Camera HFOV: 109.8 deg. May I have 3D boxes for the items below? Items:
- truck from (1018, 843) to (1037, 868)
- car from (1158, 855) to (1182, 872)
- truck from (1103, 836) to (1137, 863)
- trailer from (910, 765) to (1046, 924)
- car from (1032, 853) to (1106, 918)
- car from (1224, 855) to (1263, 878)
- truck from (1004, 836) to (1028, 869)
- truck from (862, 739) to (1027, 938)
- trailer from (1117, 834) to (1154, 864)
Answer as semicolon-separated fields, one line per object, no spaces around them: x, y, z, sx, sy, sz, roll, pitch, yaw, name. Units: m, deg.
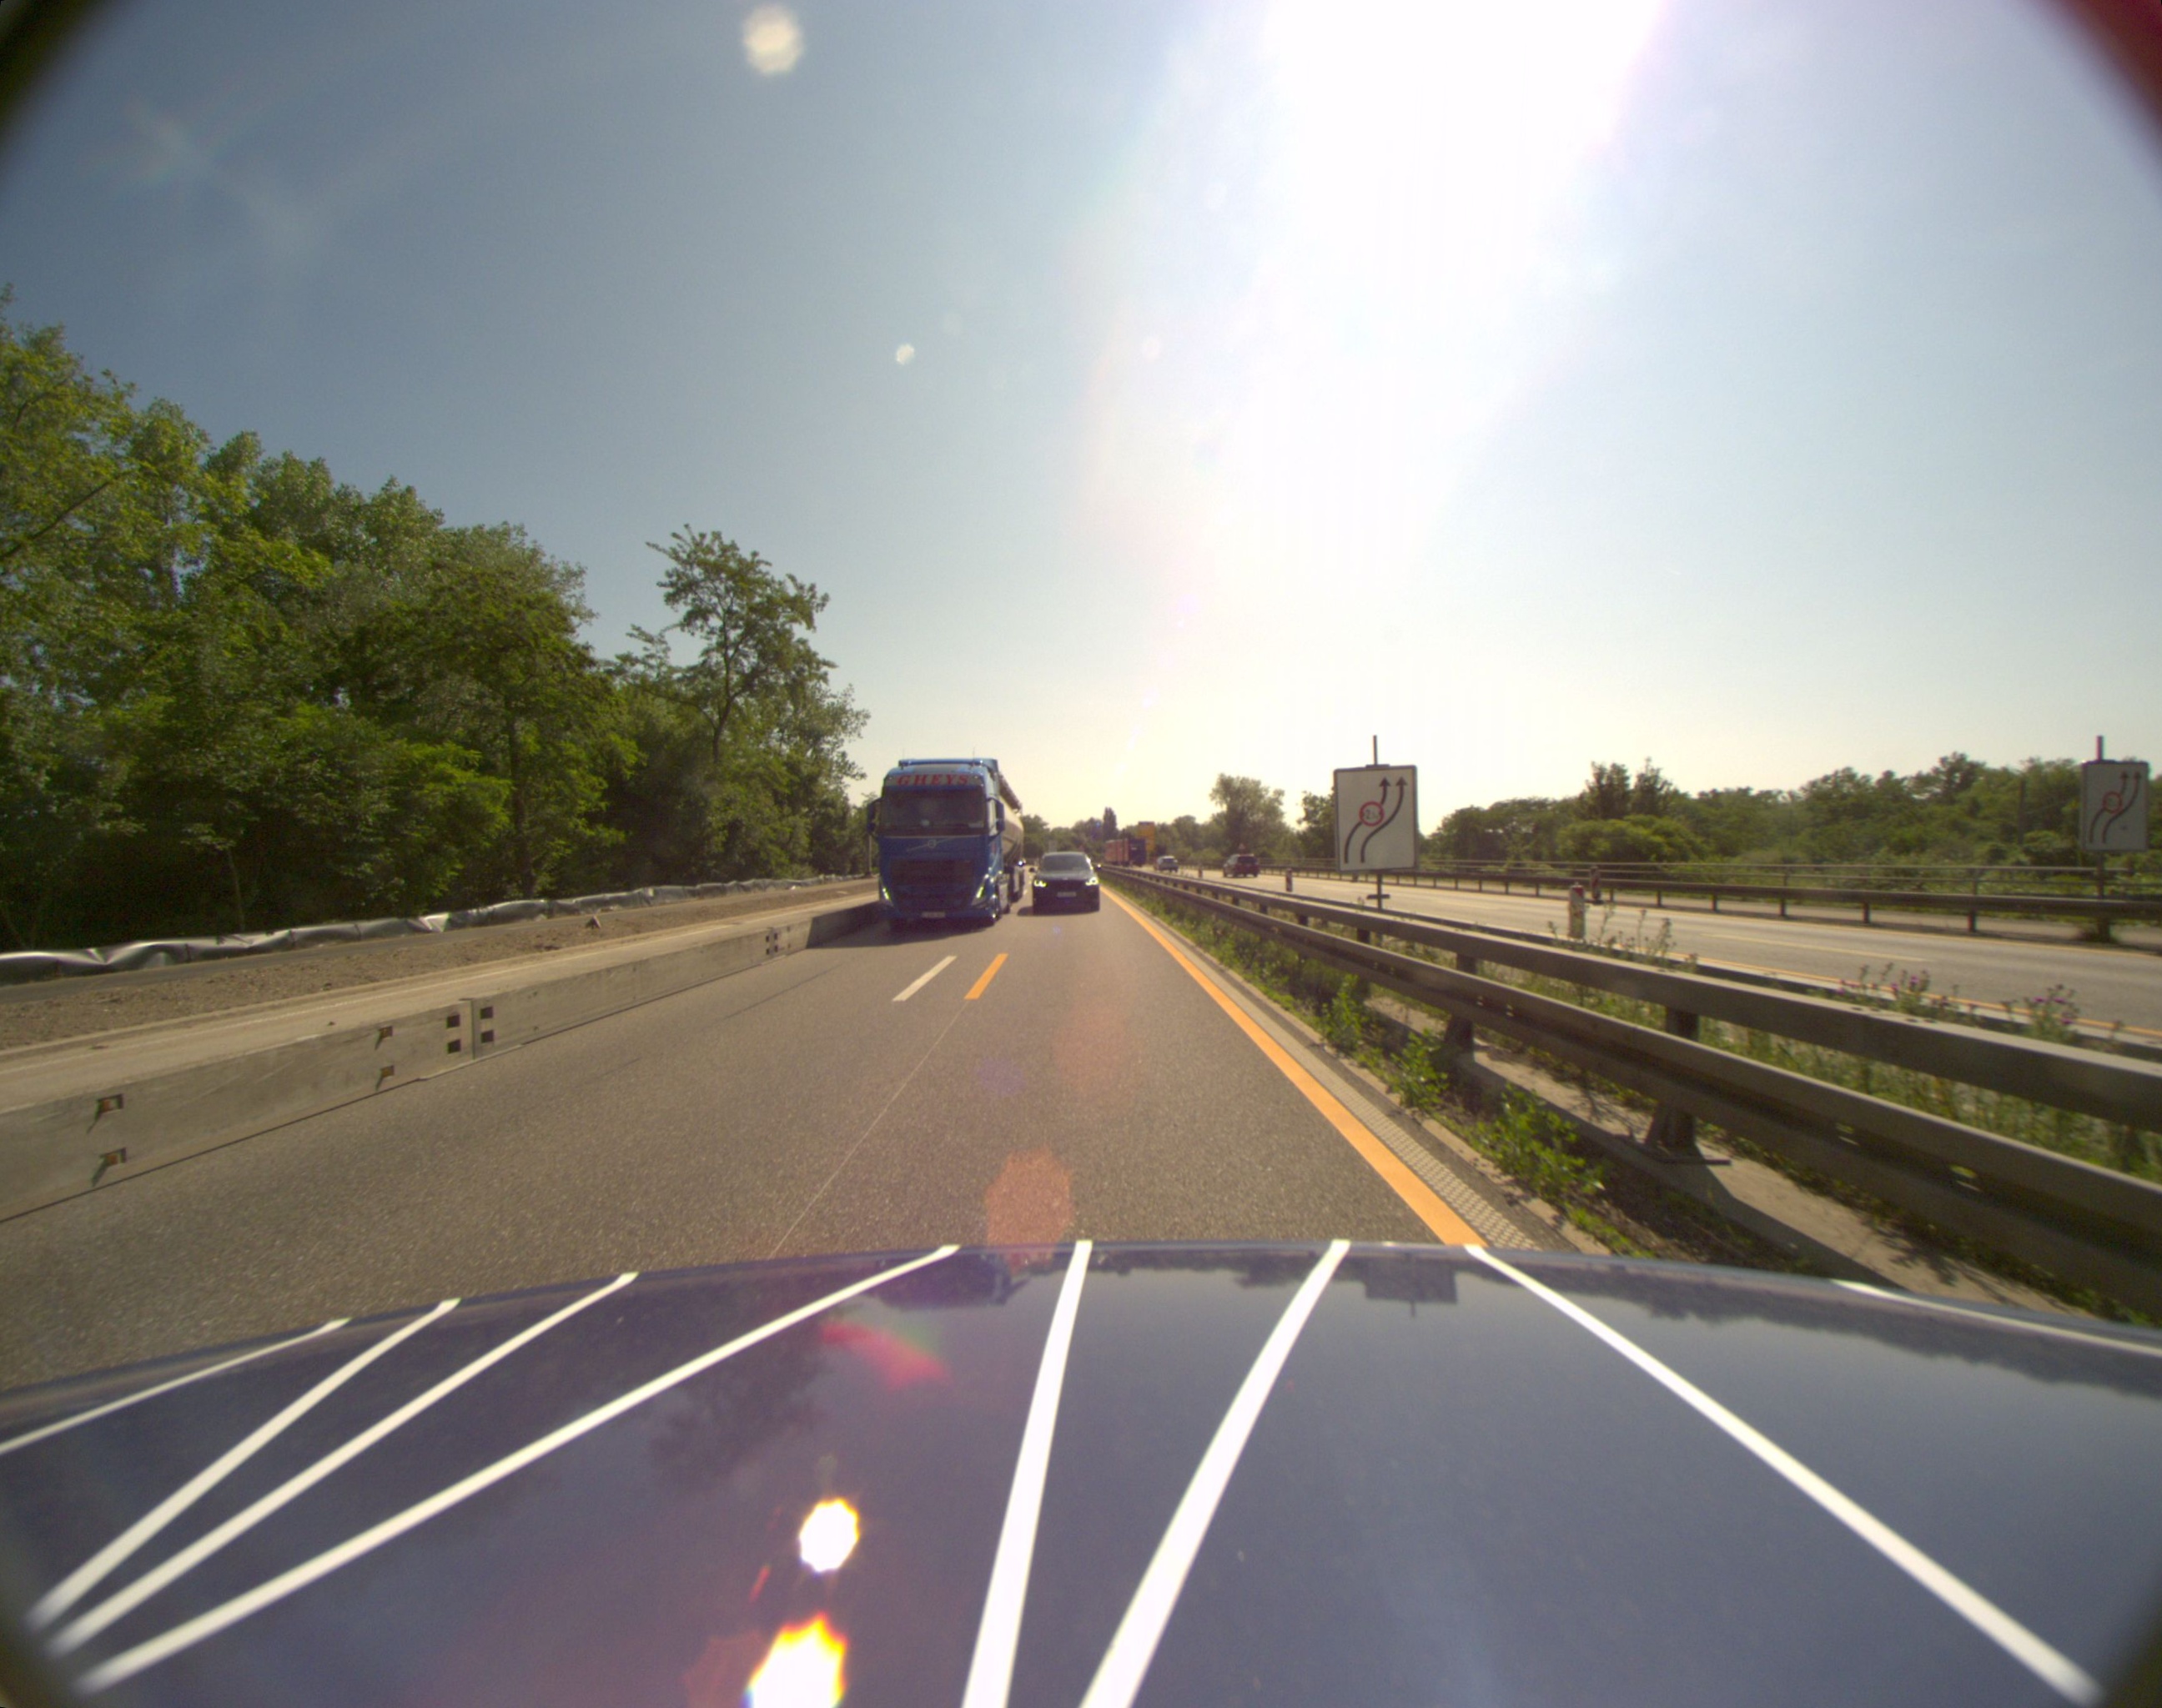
-9.035;0.279;127.550;2.862;3.961;8.661;1;0;-6;truck
9.039;0.929;77.111;1.914;1.641;4.376;0;0;0;car
6.137;-0.618;120.786;3.048;4.067;10.615;-2;0;-10;truck
-2.986;-0.218;26.182;2.701;4.113;12.615;1;0;1;trailer
-0.465;0.832;22.442;1.790;1.651;4.484;-2;0;-5;car
12.557;0.956;59.070;1.914;1.724;5.020;0;0;0;car
-8.395;-0.151;97.474;2.862;3.961;8.661;1;0;-6;truck
-3.118;-0.306;19.543;2.701;4.078;7.301;-2;0;1;truck
7.817;-0.663;110.701;3.048;4.067;9.780;-2;0;-10;trailer
